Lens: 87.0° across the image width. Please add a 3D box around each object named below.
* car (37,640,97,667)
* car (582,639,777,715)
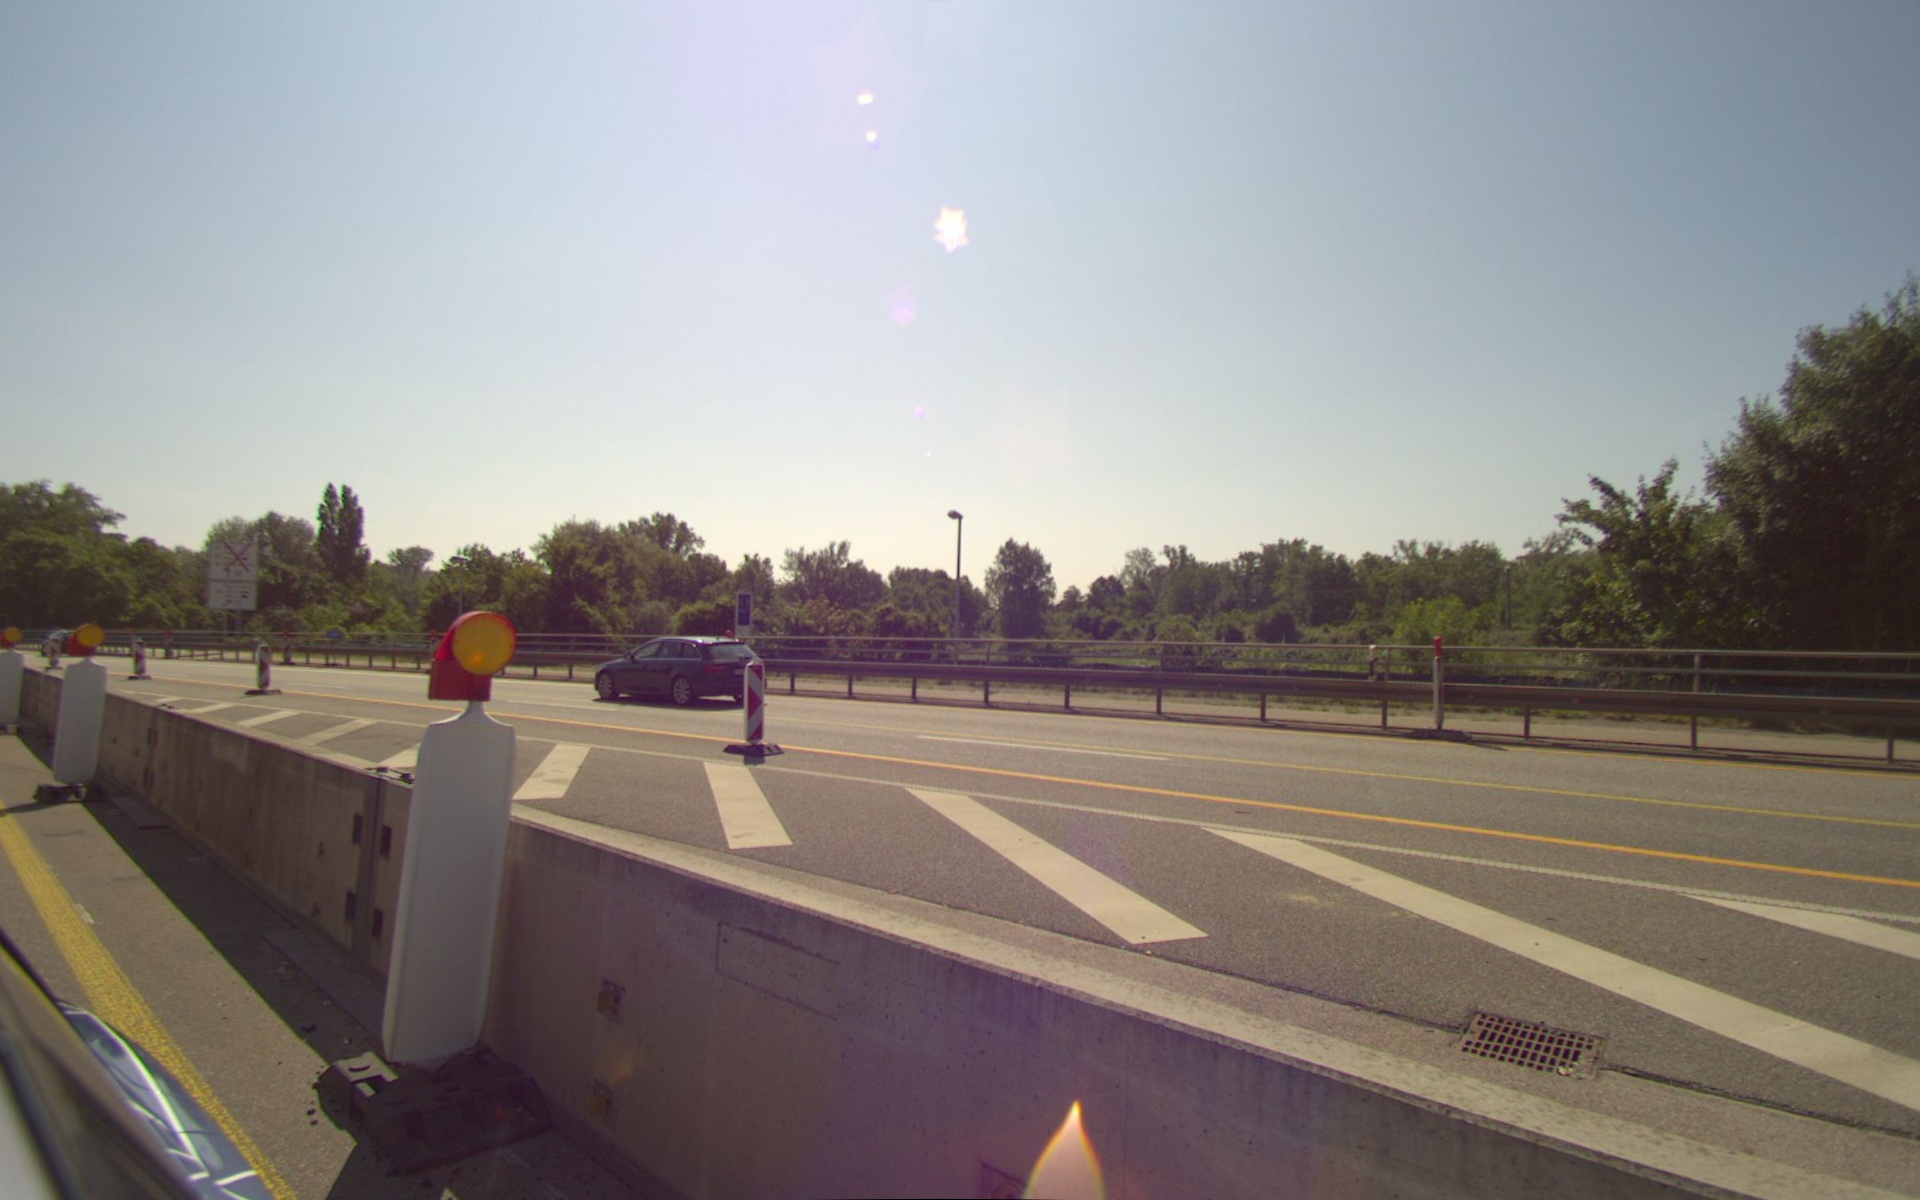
[{"bbox_3d":[-49.906,2.944,56.525,4.991,1.453,1.651,-2,-3,39],"label":"car"},{"bbox_3d":[-6.183,1.598,22.044,4.640,1.487,1.720,-2,-3,39],"label":"car"}]
